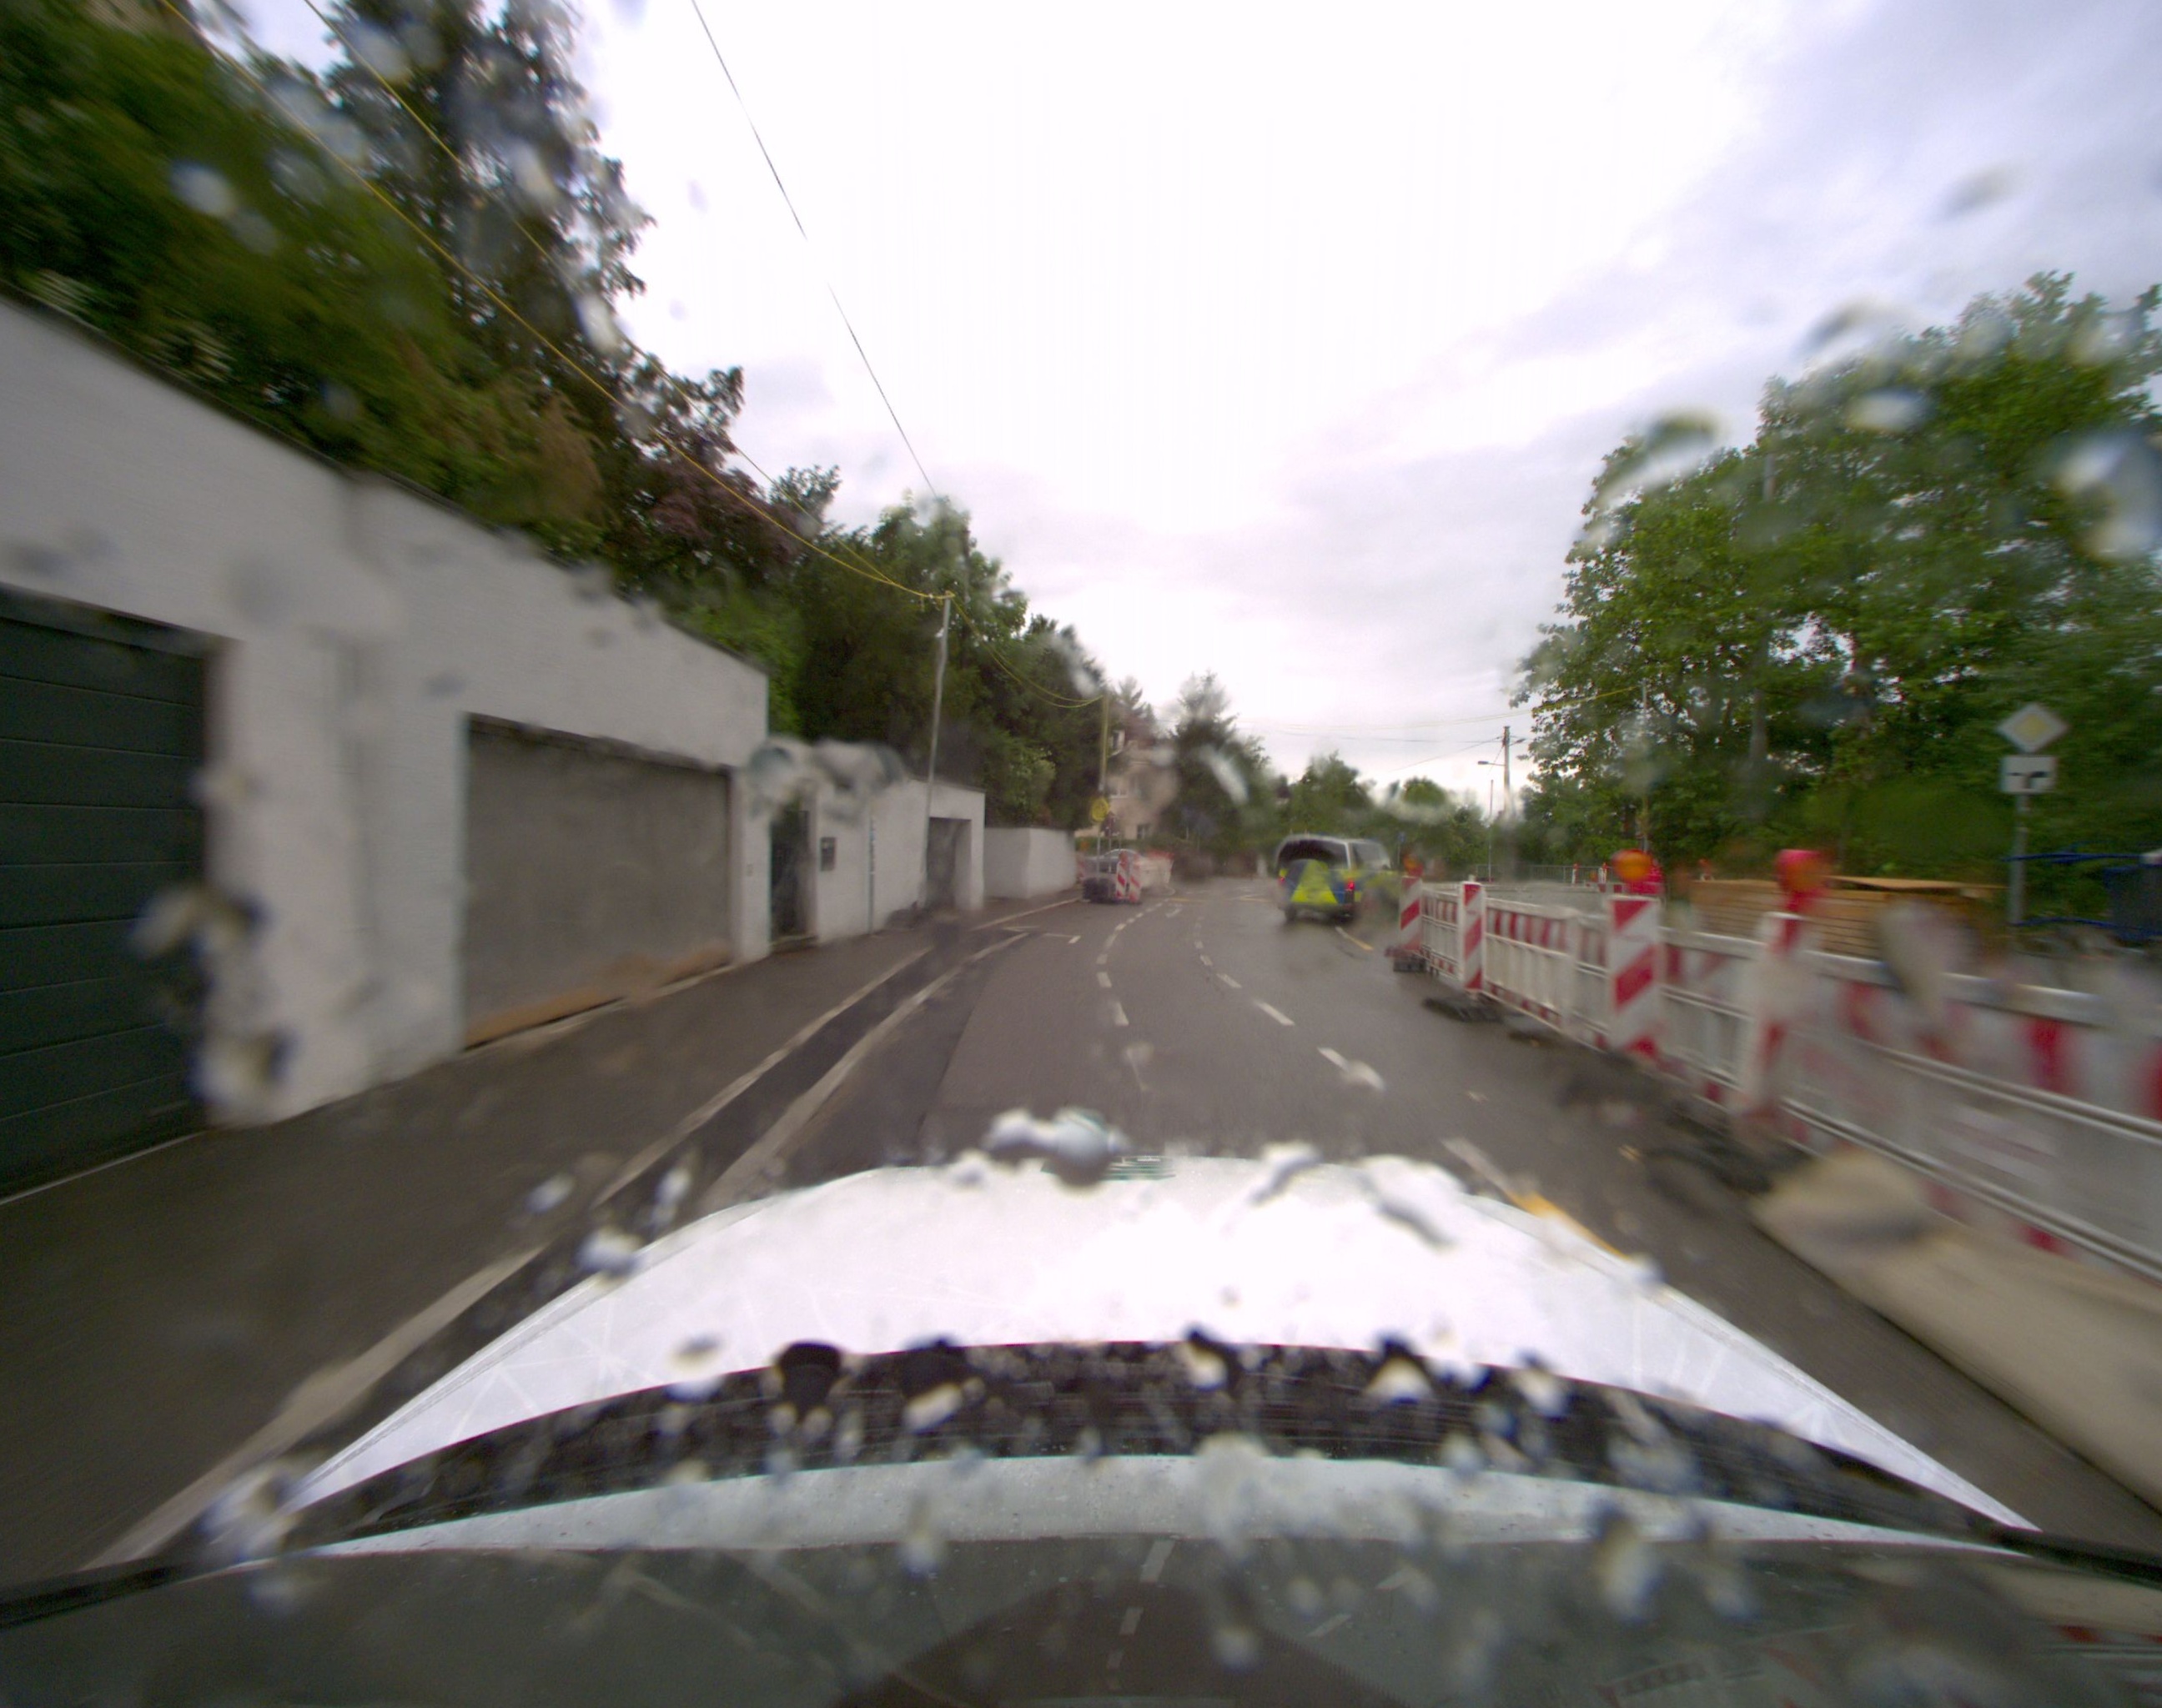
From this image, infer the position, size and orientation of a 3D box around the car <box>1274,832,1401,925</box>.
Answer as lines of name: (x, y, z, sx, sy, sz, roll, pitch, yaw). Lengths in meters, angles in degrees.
car: (6.402, 0.568, 19.991, 1.890, 2.010, 4.467, 1, -1, 32)

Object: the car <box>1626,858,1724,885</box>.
car: (32.131, 0.946, 44.105, 3.971, 1.332, 1.799, -1, -1, 2)

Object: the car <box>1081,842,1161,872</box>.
car: (2.159, 0.169, 44.208, 3.950, 1.517, 1.738, 1, -1, 28)
